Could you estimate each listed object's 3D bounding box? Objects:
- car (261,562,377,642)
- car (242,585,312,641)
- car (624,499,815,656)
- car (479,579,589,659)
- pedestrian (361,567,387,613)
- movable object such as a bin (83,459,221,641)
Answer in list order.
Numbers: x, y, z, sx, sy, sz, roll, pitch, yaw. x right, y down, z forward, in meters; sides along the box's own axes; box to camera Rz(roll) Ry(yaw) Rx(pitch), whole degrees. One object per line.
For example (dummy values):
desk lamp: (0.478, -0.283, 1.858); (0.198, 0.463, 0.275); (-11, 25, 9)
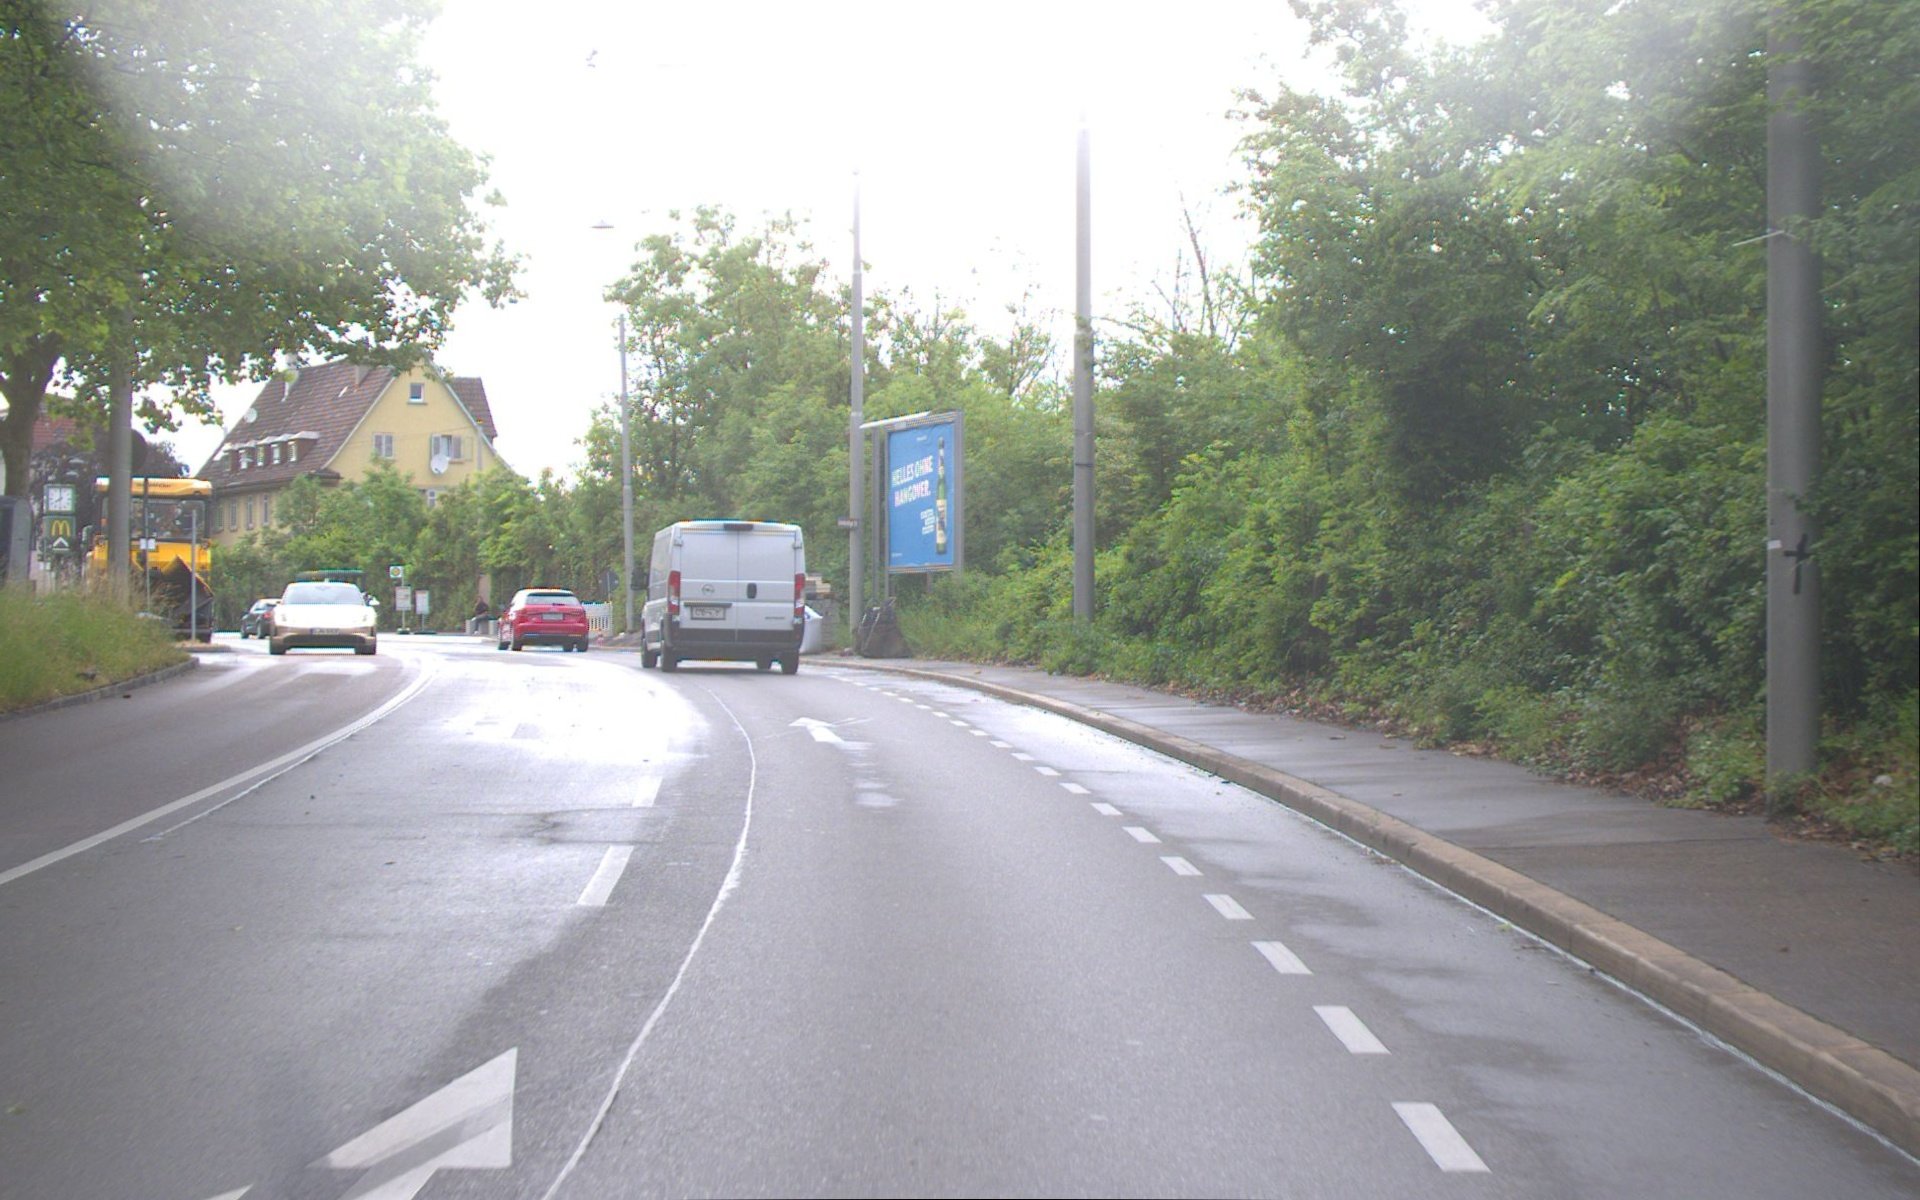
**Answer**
car: (-12.248, 0.010, 65.760); (2.070, 1.348, 4.715); (2, 1, -11)
car: (-24.328, 0.441, 122.316); (2.237, 1.798, 4.715); (1, 1, -13)
car: (-3.710, -0.388, 52.172); (2.237, 2.205, 4.715); (2, 1, -11)
car: (-9.946, 0.412, 80.043); (2.237, 1.651, 4.715); (2, 1, -10)
pedestrian: (-22.630, -0.385, 132.814); (0.905, 1.725, 0.654); (1, 1, -13)
movable object such as a bin: (-18.011, -1.160, 76.916); (2.773, 3.842, 5.990); (2, 1, -12)
